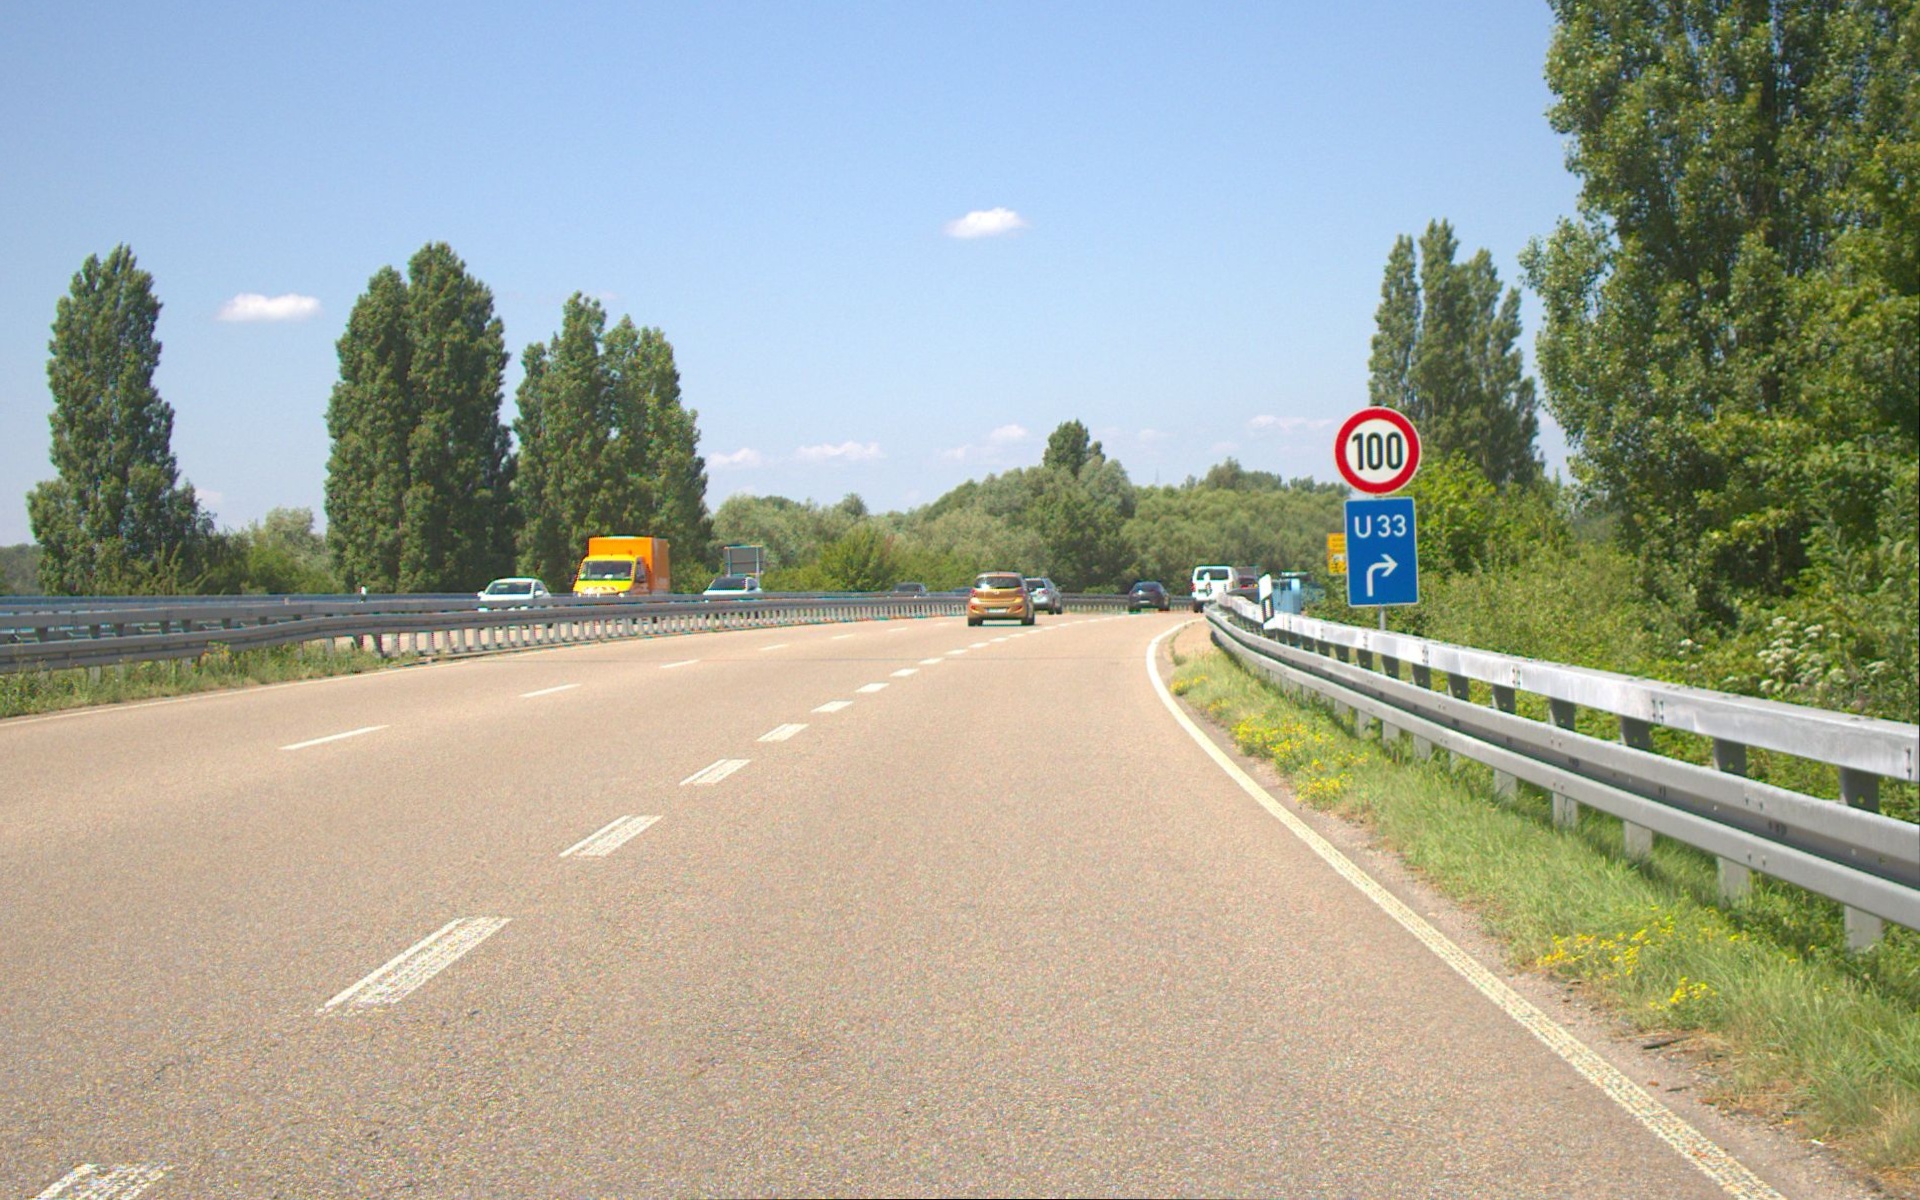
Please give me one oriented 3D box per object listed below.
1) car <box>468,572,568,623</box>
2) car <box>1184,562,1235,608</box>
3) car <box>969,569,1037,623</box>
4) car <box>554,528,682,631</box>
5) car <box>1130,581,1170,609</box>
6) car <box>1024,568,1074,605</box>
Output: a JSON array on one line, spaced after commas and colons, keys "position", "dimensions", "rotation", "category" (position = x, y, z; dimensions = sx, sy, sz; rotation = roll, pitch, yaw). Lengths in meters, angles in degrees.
[{"position": [-12.898, -0.087, 100.579], "dimensions": [1.853, 1.427, 4.794], "rotation": [-1, 0, 6], "category": "car"}, {"position": [10.632, -0.654, 146.388], "dimensions": [1.842, 1.889, 3.999], "rotation": [0, 1, 9], "category": "car"}, {"position": [1.212, -0.125, 95.835], "dimensions": [1.841, 1.459, 4.000], "rotation": [0, 1, 2], "category": "car"}, {"position": [-11.308, -0.695, 114.381], "dimensions": [2.306, 3.280, 7.025], "rotation": [-1, 0, 10], "category": "car"}, {"position": [10.380, -0.288, 187.610], "dimensions": [1.944, 1.459, 3.999], "rotation": [0, 1, 6], "category": "car"}, {"position": [3.639, -0.558, 140.311], "dimensions": [1.841, 1.446, 3.999], "rotation": [0, 1, 4], "category": "car"}]
